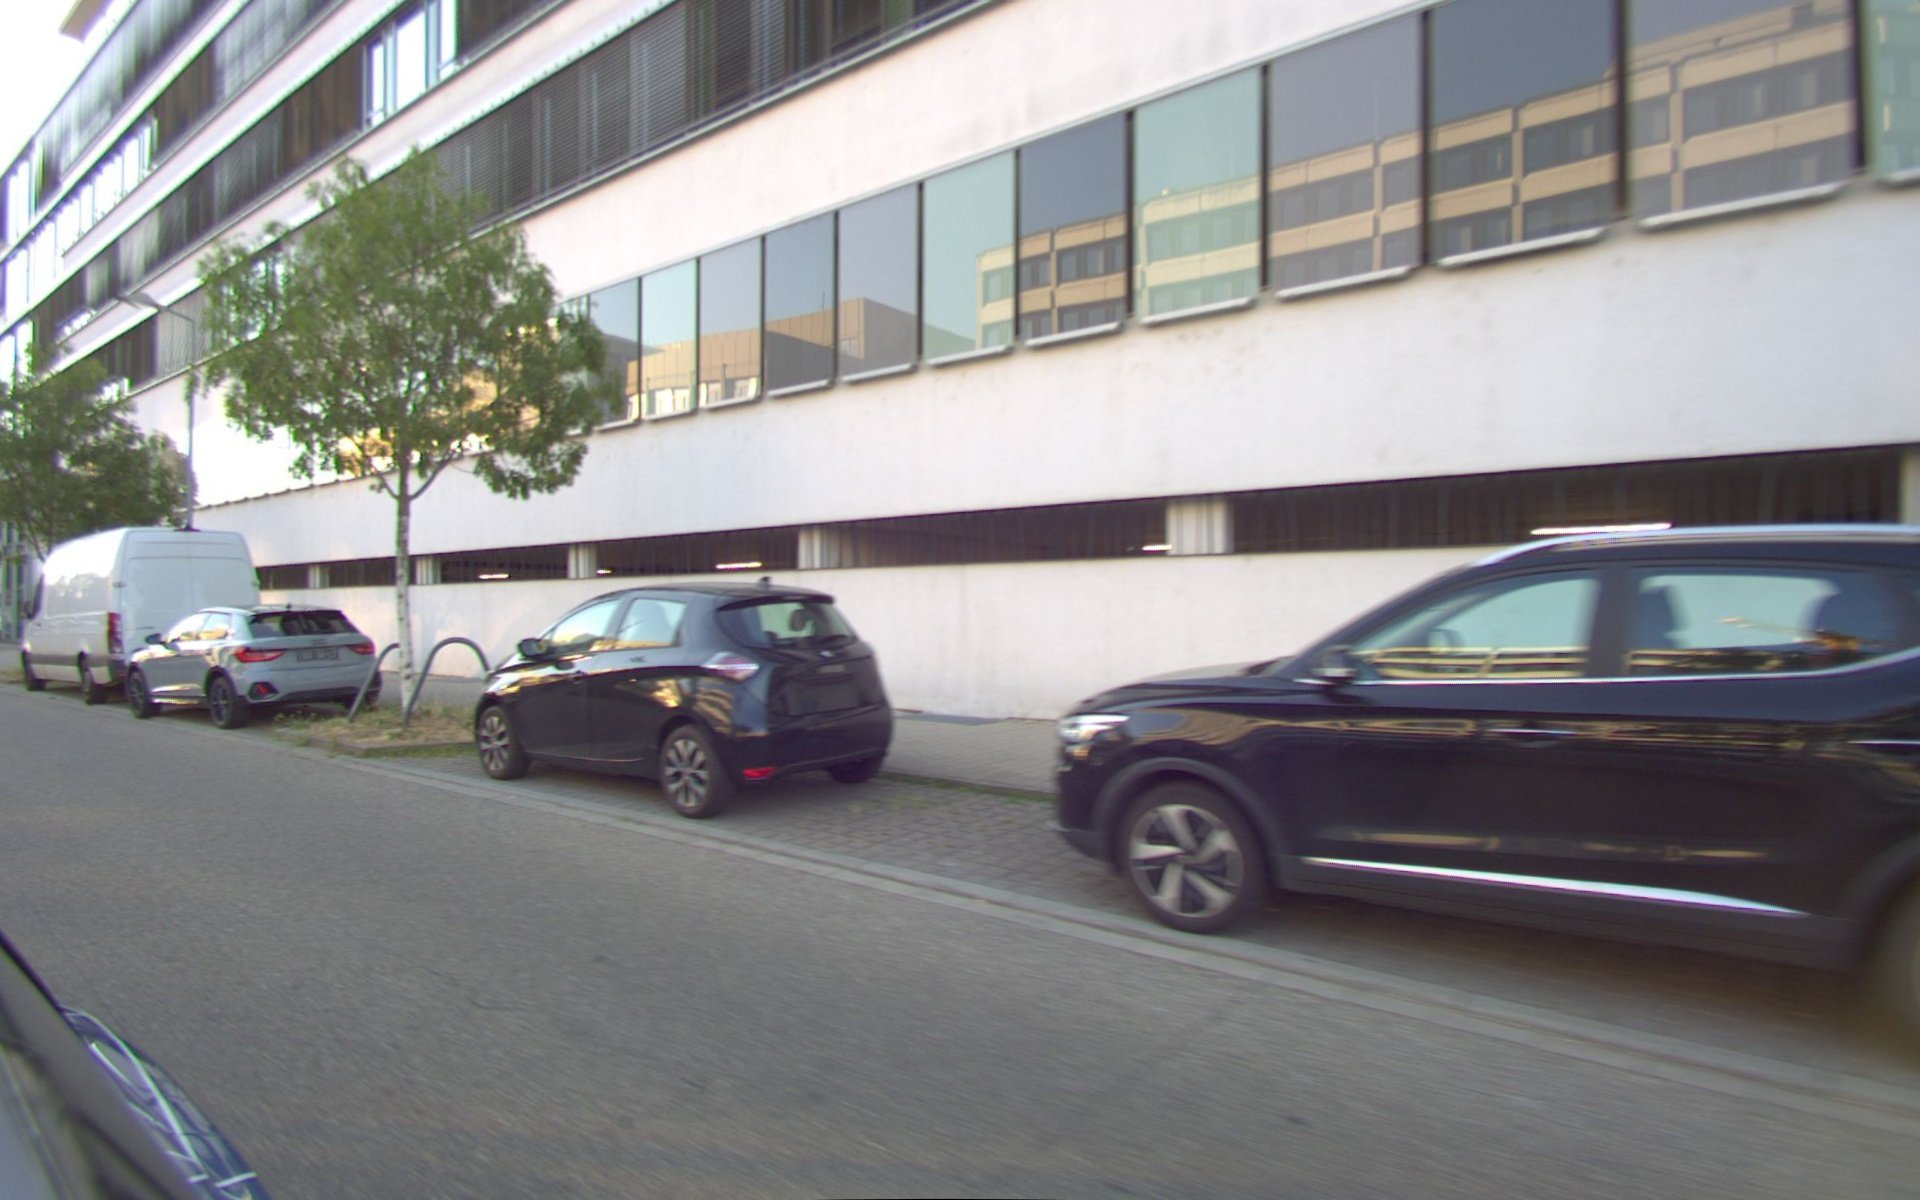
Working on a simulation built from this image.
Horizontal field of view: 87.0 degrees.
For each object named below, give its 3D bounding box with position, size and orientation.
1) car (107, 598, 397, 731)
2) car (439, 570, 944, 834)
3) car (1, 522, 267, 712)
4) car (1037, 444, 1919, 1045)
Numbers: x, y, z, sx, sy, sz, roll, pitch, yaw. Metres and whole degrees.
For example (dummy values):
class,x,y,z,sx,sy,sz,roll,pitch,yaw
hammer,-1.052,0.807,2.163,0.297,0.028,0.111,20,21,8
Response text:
class,x,y,z,sx,sy,sz,roll,pitch,yaw
car,-9.243,0.766,13.147,3.889,1.450,1.742,-2,0,33
car,-2.249,0.629,7.969,4.037,1.572,1.739,-2,0,38
car,-14.018,0.286,16.955,6.882,2.636,1.940,-2,0,38
car,2.452,0.402,4.048,3.942,1.666,1.740,-2,0,37
